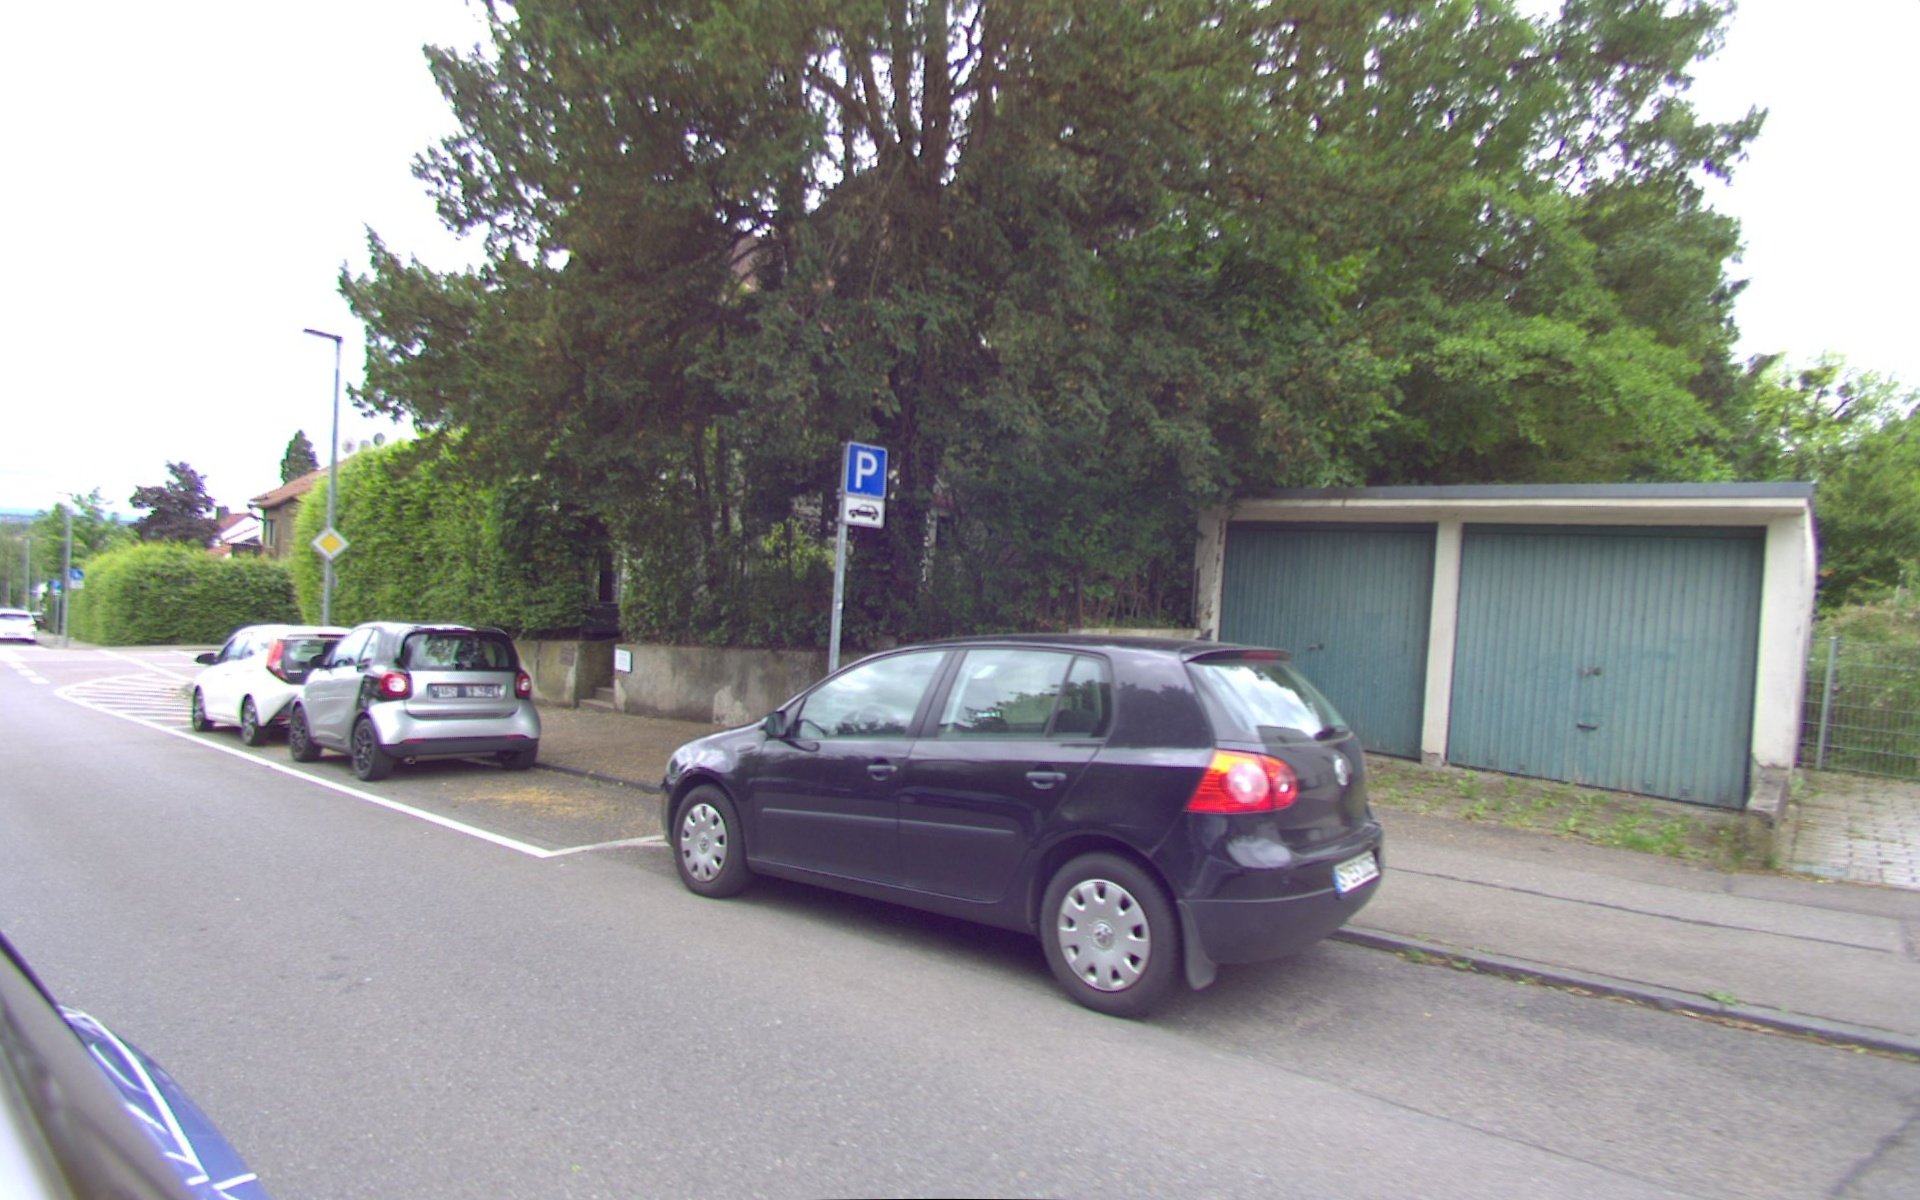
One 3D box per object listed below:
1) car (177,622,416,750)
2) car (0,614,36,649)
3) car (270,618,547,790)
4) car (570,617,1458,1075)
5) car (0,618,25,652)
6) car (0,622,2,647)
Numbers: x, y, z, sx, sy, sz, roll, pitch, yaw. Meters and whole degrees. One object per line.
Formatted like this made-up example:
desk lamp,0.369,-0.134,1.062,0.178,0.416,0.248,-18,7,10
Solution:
car,-8.838,1.056,13.400,3.512,1.459,1.726,-1,-4,41
car,-41.487,1.344,44.019,1.670,1.430,3.581,6,-5,-45
car,-5.896,0.979,10.740,2.973,1.530,1.607,0,-2,40
car,-0.050,0.865,5.519,4.679,1.481,1.831,-1,-3,40
car,-45.264,1.573,47.436,4.741,1.501,1.762,-1,-5,45
car,-63.429,2.220,65.487,4.007,1.561,1.918,-2,-3,44
